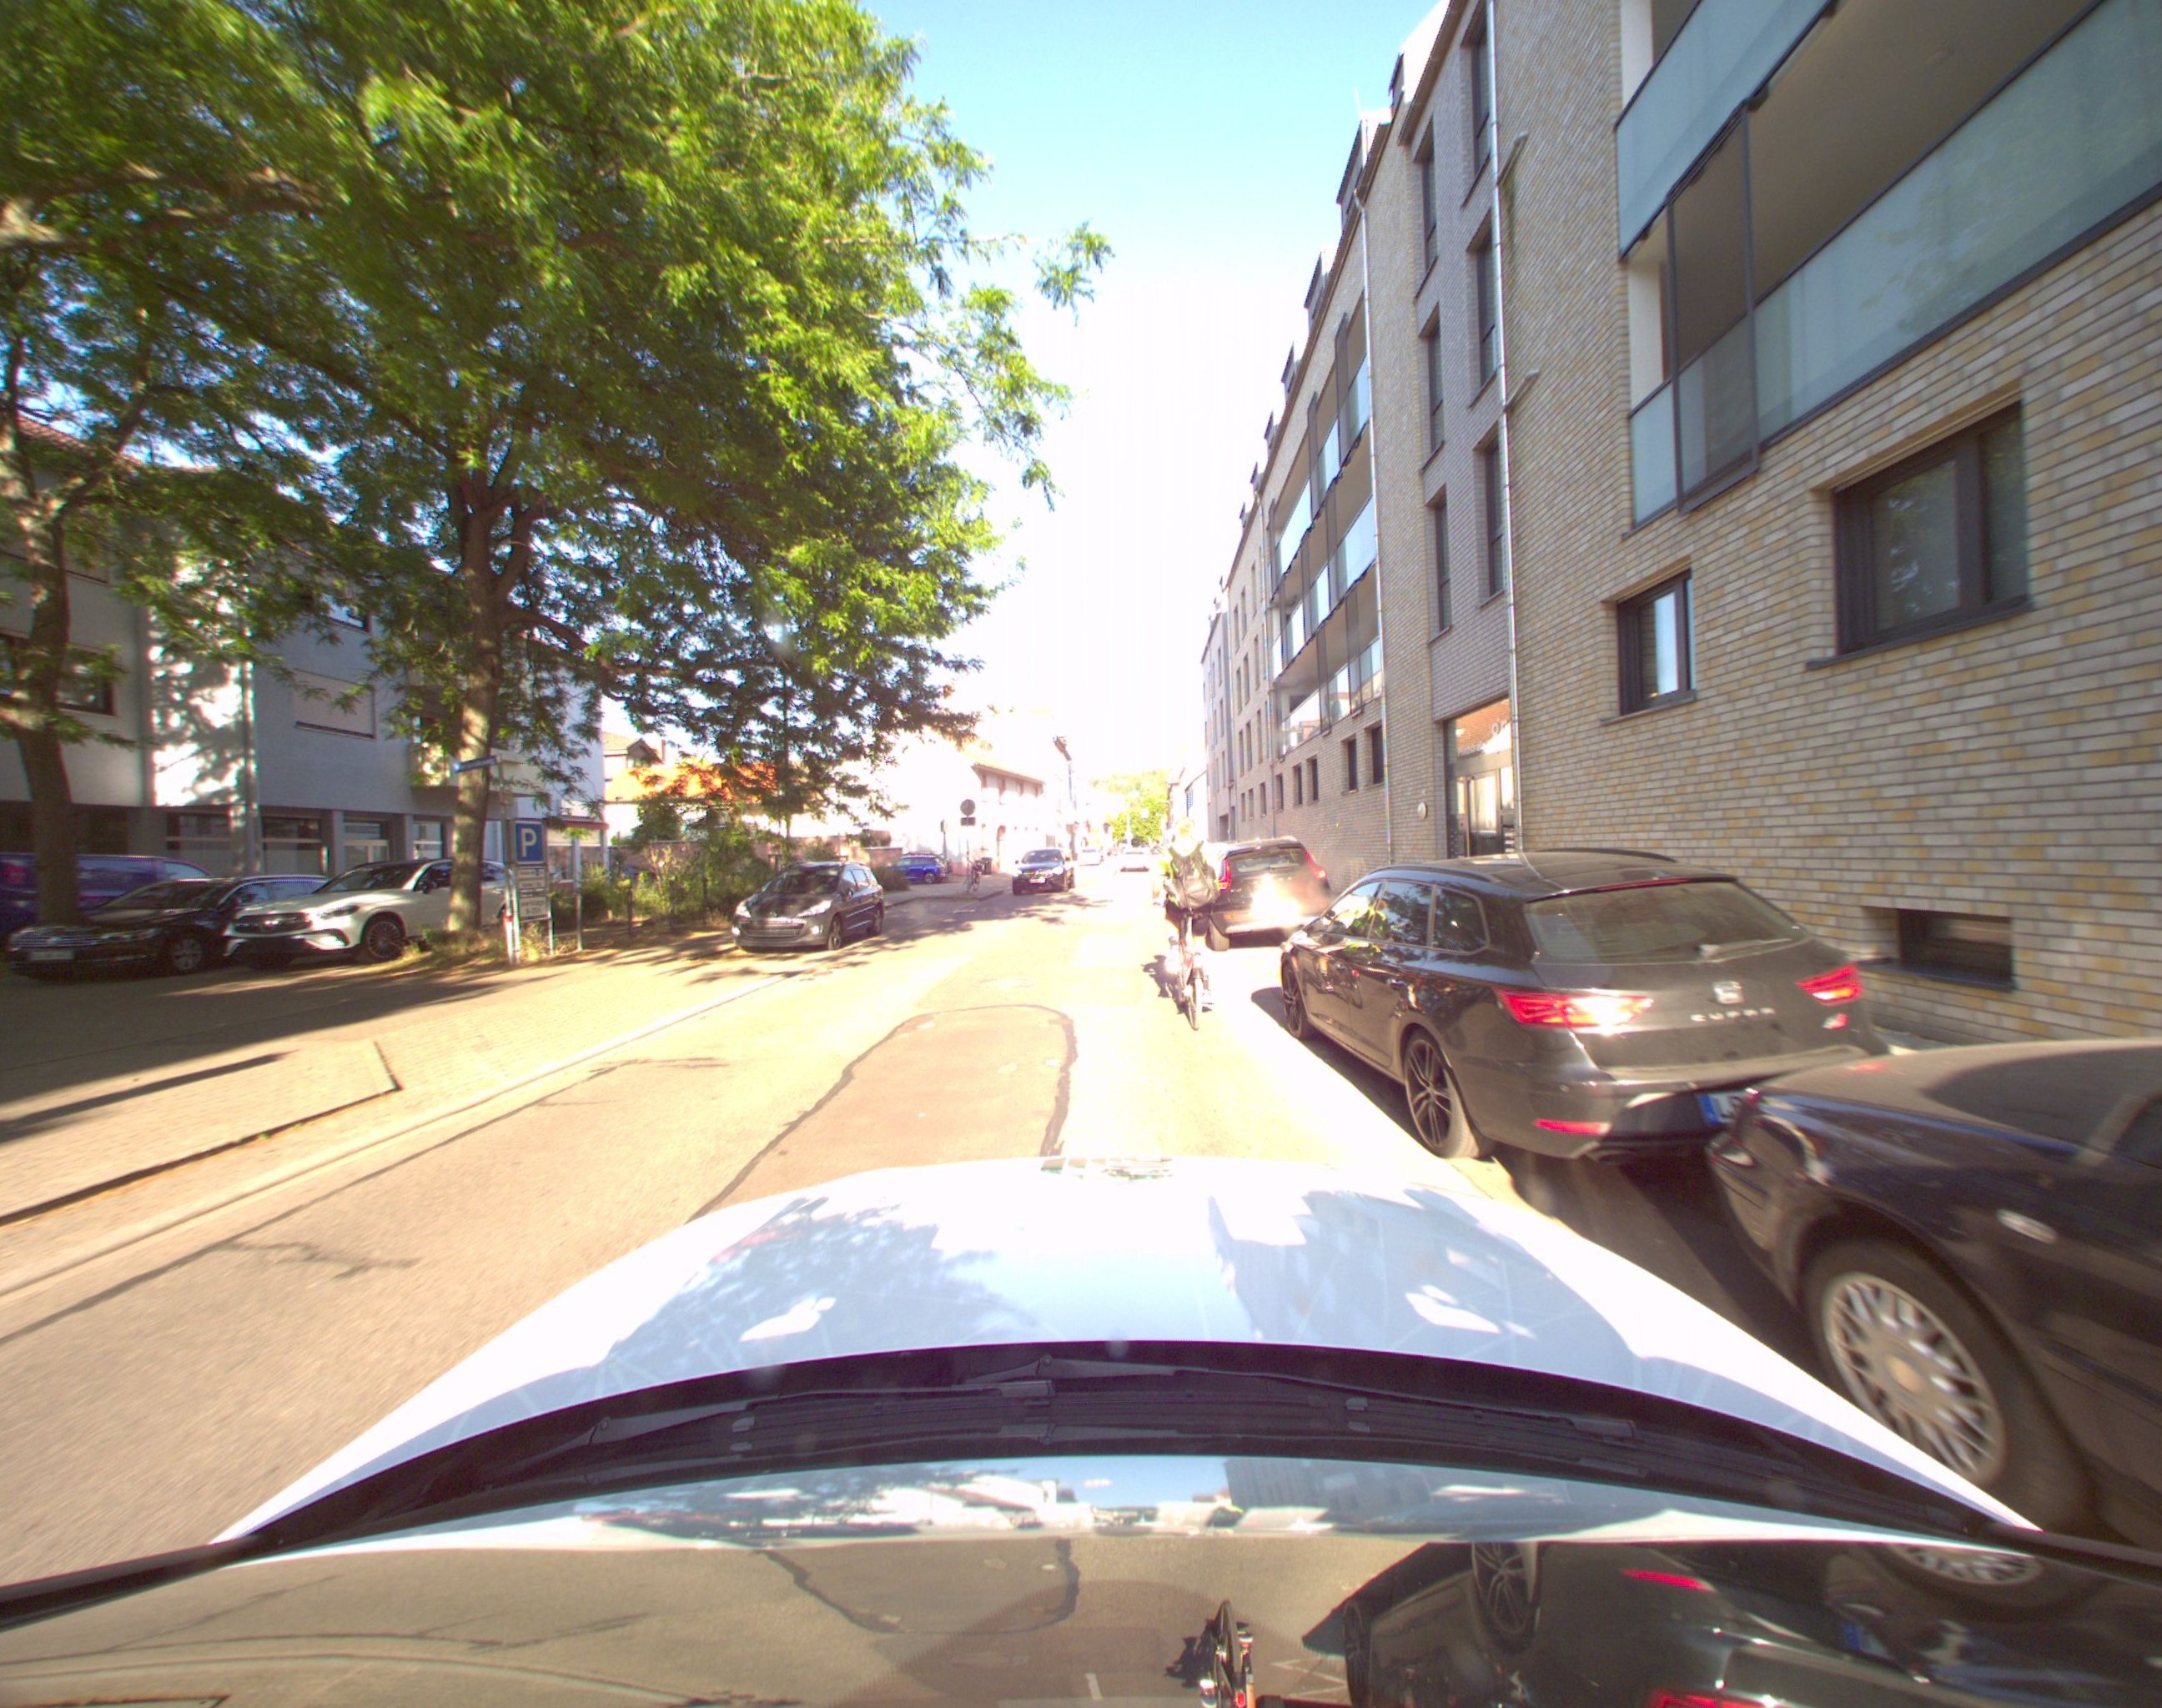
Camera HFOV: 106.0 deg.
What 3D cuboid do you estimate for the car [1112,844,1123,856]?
[{"bbox_3d":[6.569,-0.749,147.595,1.985,2.013,4.003,-2,1,2],"label":"car"}]

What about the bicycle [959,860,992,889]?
[{"bbox_3d":[-3.871,0.735,29.998,0.700,1.003,1.945,-1,0,7],"label":"bicycle"}]

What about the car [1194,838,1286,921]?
[{"bbox_3d":[3.732,0.507,19.812,1.879,1.712,4.785,-2,1,8],"label":"car"}]

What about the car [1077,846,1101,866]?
[{"bbox_3d":[0.762,0.122,71.015,1.986,1.647,5.223,-2,1,1],"label":"car"}]

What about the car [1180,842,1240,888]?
[{"bbox_3d":[4.748,0.362,30.447,1.705,1.404,4.077,-6,0,3],"label":"car"}]

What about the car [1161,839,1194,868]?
[{"bbox_3d":[6.293,-0.083,53.359,1.846,1.636,4.629,-5,1,5],"label":"car"}]

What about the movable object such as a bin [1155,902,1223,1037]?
[{"bbox_3d":[0.980,1.011,7.691,0.453,1.033,1.841,1,-1,2],"label":"movable object such as a bin"}]

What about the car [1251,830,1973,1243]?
[{"bbox_3d":[2.539,0.686,5.484,1.691,1.467,4.719,-4,0,0],"label":"car"}]

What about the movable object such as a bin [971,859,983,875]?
[{"bbox_3d":[-6.253,0.781,48.914,0.596,0.872,0.606,-2,0,2],"label":"movable object such as a bin"}]

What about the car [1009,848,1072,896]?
[{"bbox_3d":[-1.409,0.603,30.025,1.932,1.576,4.320,-3,0,1],"label":"car"}]

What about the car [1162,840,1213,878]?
[{"bbox_3d":[5.220,0.200,40.476,1.986,1.653,4.764,-2,1,1],"label":"car"}]

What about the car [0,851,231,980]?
[{"bbox_3d":[-17.624,0.962,13.901,2.017,1.948,4.311,-2,0,-9],"label":"car"}]

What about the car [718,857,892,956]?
[{"bbox_3d":[-4.934,0.853,15.181,1.690,1.491,4.002,-3,0,2],"label":"car"}]

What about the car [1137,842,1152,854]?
[{"bbox_3d":[9.084,-0.858,115.949,1.983,1.466,4.008,-3,0,7],"label":"car"}]

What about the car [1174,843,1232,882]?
[{"bbox_3d":[5.165,0.319,35.042,1.985,1.505,4.370,-2,1,3],"label":"car"}]

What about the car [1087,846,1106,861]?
[{"bbox_3d":[1.686,-0.051,87.549,1.723,1.499,3.962,-3,0,3],"label":"car"}]

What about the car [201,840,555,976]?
[{"bbox_3d":[-11.670,0.739,14.145,1.837,1.895,4.905,-2,1,-1],"label":"car"}]

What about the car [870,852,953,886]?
[{"bbox_3d":[-8.872,0.783,42.849,3.750,1.530,2.003,-3,1,4],"label":"car"}]

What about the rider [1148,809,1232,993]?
[{"bbox_3d":[0.977,0.407,7.500,0.651,1.562,1.084,1,-1,2],"label":"rider"}]

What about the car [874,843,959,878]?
[{"bbox_3d":[-9.345,0.334,46.586,4.342,1.794,1.991,1,3,5],"label":"car"}]

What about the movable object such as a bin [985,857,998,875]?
[{"bbox_3d":[-5.494,0.736,49.984,0.596,1.094,0.752,-1,0,4],"label":"movable object such as a bin"}]

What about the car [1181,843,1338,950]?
[{"bbox_3d":[2.830,0.602,13.854,1.809,1.466,4.272,-3,0,2],"label":"car"}]

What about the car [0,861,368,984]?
[{"bbox_3d":[-14.208,0.965,13.100,2.068,1.575,3.808,-2,0,0],"label":"car"}]

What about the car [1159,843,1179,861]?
[{"bbox_3d":[8.269,-0.232,76.700,1.733,1.492,4.445,-4,0,5],"label":"car"}]

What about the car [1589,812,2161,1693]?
[{"bbox_3d":[2.703,0.687,0.838,1.658,1.516,4.219,-4,0,0],"label":"car"}]

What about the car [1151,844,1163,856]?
[{"bbox_3d":[13.173,-0.693,141.364,2.002,1.853,4.004,-1,1,3],"label":"car"}]

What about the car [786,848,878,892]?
[{"bbox_3d":[-13.069,0.838,42.983,3.970,1.500,2.003,-10,4,4],"label":"car"}]

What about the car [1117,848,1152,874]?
[{"bbox_3d":[3.257,0.422,50.113,1.986,1.466,4.002,-3,0,2],"label":"car"}]
